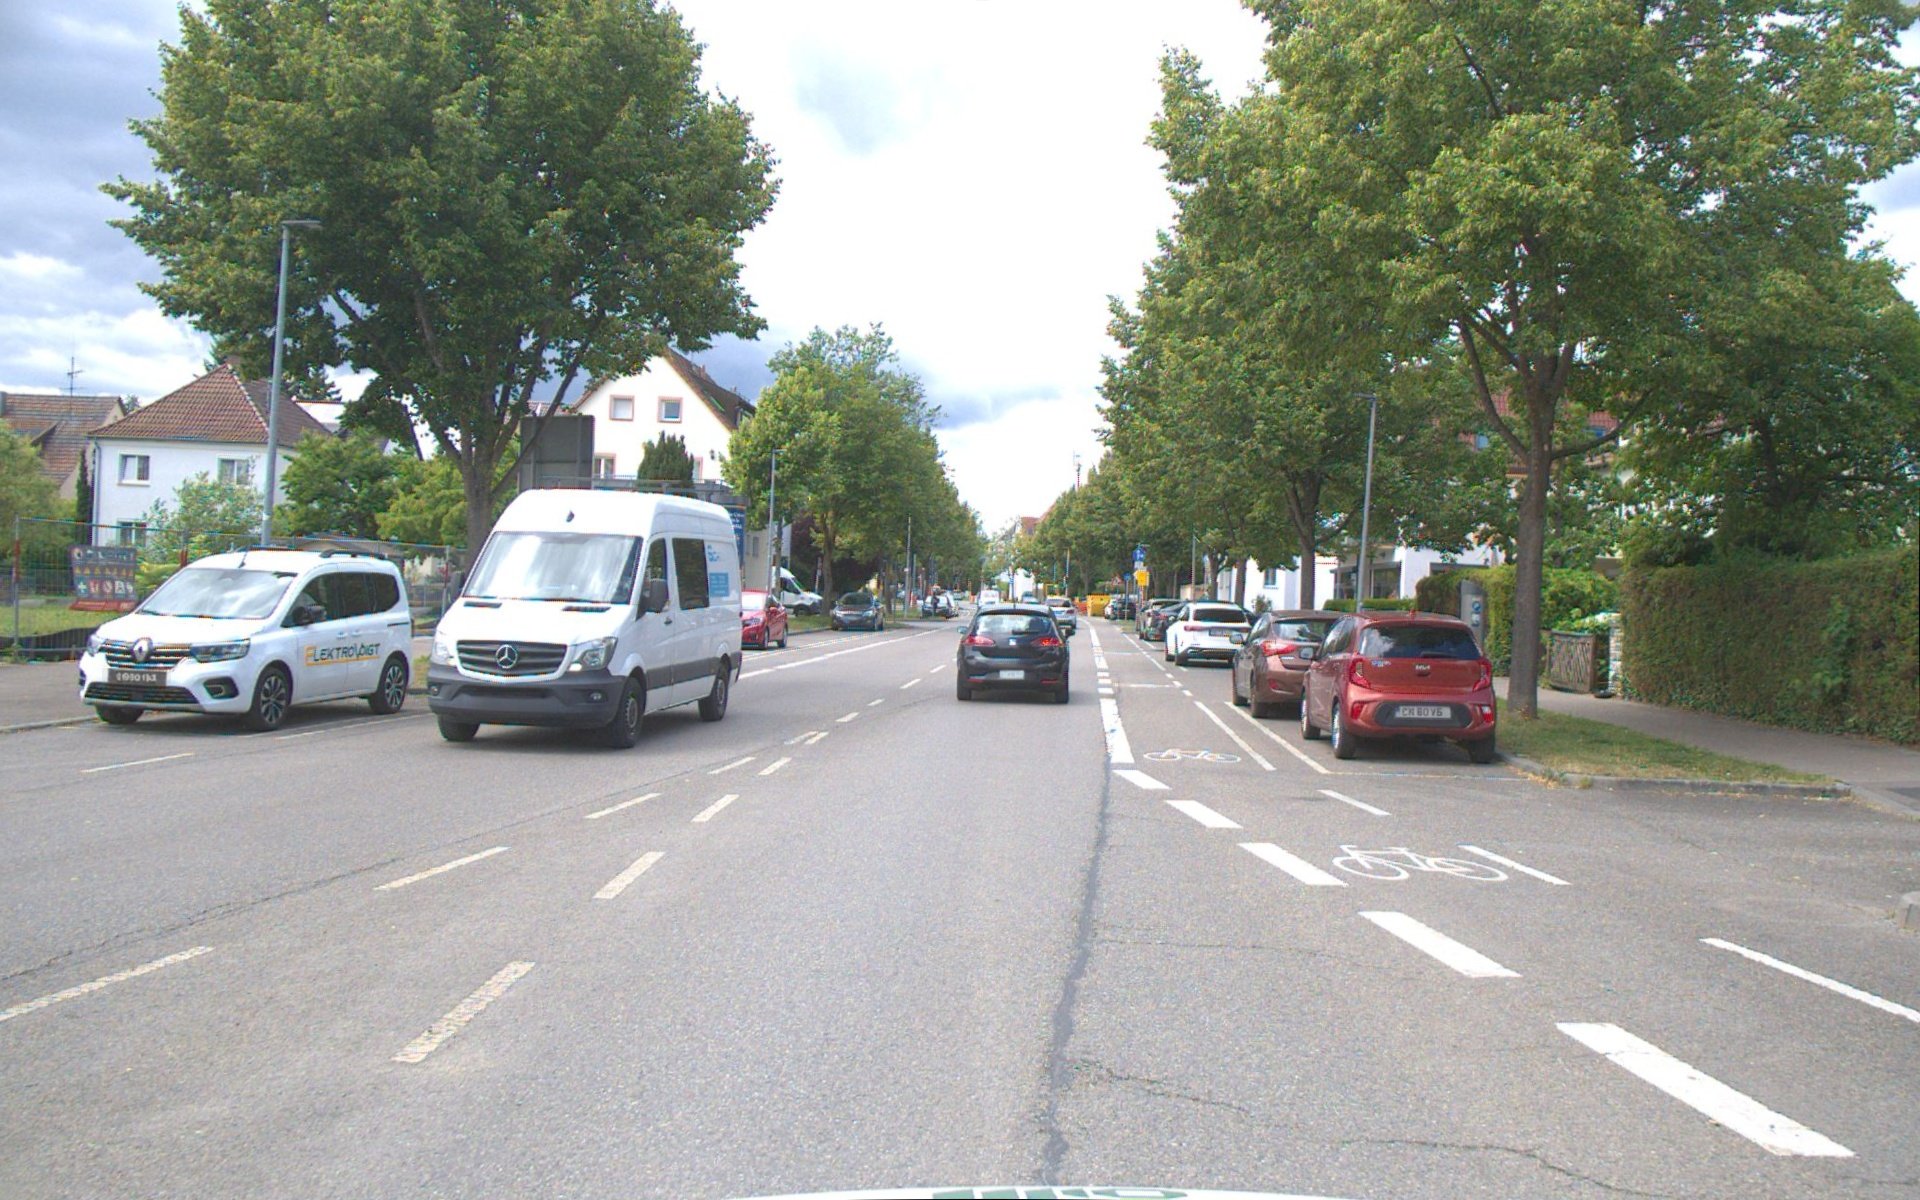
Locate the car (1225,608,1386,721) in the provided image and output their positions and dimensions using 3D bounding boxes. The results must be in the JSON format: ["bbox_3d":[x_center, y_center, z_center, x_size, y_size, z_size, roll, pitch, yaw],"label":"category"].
[{"bbox_3d":[4.906,0.867,23.981,1.618,1.440,4.178,1,0,2],"label":"car"}]

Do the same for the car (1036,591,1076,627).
[{"bbox_3d":[4.728,0.437,81.354,1.866,1.715,3.741,1,0,3],"label":"car"}]

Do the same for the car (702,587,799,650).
[{"bbox_3d":[-5.557,0.464,44.373,1.649,1.568,4.135,2,0,6],"label":"car"}]

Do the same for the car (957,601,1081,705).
[{"bbox_3d":[0.913,0.767,25.960,1.781,1.463,3.740,1,0,2],"label":"car"}]

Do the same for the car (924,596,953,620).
[{"bbox_3d":[-1.332,0.511,104.406,1.608,1.445,4.022,1,0,3],"label":"car"}]

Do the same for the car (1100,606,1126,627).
[{"bbox_3d":[11.196,1.203,121.126,1.638,1.488,4.001,1,0,1],"label":"car"}]

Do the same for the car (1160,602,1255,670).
[{"bbox_3d":[5.973,0.819,40.376,1.768,1.500,4.813,2,0,2],"label":"car"}]

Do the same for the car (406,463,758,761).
[{"bbox_3d":[-3.901,0.100,18.367,1.976,2.720,5.809,2,0,6],"label":"car"}]

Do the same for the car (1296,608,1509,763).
[{"bbox_3d":[4.742,0.867,18.161,1.532,1.481,3.670,2,-1,4],"label":"car"}]

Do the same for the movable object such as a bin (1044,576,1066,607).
[{"bbox_3d":[8.256,-0.752,143.708,1.732,2.619,3.740,2,0,2],"label":"movable object such as a bin"}]

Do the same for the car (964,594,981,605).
[{"bbox_3d":[1.647,-0.043,225.647,1.776,1.440,3.687,2,0,-8],"label":"car"}]

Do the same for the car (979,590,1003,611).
[{"bbox_3d":[2.821,0.025,148.849,1.925,1.862,4.821,2,0,4],"label":"car"}]

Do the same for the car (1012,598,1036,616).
[{"bbox_3d":[5.176,0.569,134.637,1.773,1.399,3.693,2,0,0],"label":"car"}]

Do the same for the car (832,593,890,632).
[{"bbox_3d":[-3.955,0.492,66.666,1.694,1.494,4.304,1,0,5],"label":"car"}]

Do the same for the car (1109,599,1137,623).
[{"bbox_3d":[10.975,0.725,111.492,1.670,1.480,4.618,1,0,3],"label":"car"}]

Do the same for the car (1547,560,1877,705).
[{"bbox_3d":[14.841,0.608,32.855,5.597,2.637,1.998,2,1,-1],"label":"car"}]

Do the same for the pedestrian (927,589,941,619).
[{"bbox_3d":[-1.512,0.209,96.349,0.531,1.710,0.751,3,1,12],"label":"pedestrian"}]

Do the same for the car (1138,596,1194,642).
[{"bbox_3d":[7.714,0.686,62.321,1.686,1.608,4.062,2,0,2],"label":"car"}]

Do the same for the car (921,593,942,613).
[{"bbox_3d":[-3.346,0.374,192.959,2.051,2.213,5.040,1,0,-4],"label":"car"}]

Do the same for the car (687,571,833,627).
[{"bbox_3d":[-10.197,-0.037,84.724,7.139,2.639,2.220,2,0,0],"label":"car"}]

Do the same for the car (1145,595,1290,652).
[{"bbox_3d":[7.848,0.714,50.596,4.131,1.666,1.693,1,0,-2],"label":"car"}]

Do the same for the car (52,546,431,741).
[{"bbox_3d":[-7.586,0.407,18.030,1.733,1.801,4.554,2,0,6],"label":"car"}]
